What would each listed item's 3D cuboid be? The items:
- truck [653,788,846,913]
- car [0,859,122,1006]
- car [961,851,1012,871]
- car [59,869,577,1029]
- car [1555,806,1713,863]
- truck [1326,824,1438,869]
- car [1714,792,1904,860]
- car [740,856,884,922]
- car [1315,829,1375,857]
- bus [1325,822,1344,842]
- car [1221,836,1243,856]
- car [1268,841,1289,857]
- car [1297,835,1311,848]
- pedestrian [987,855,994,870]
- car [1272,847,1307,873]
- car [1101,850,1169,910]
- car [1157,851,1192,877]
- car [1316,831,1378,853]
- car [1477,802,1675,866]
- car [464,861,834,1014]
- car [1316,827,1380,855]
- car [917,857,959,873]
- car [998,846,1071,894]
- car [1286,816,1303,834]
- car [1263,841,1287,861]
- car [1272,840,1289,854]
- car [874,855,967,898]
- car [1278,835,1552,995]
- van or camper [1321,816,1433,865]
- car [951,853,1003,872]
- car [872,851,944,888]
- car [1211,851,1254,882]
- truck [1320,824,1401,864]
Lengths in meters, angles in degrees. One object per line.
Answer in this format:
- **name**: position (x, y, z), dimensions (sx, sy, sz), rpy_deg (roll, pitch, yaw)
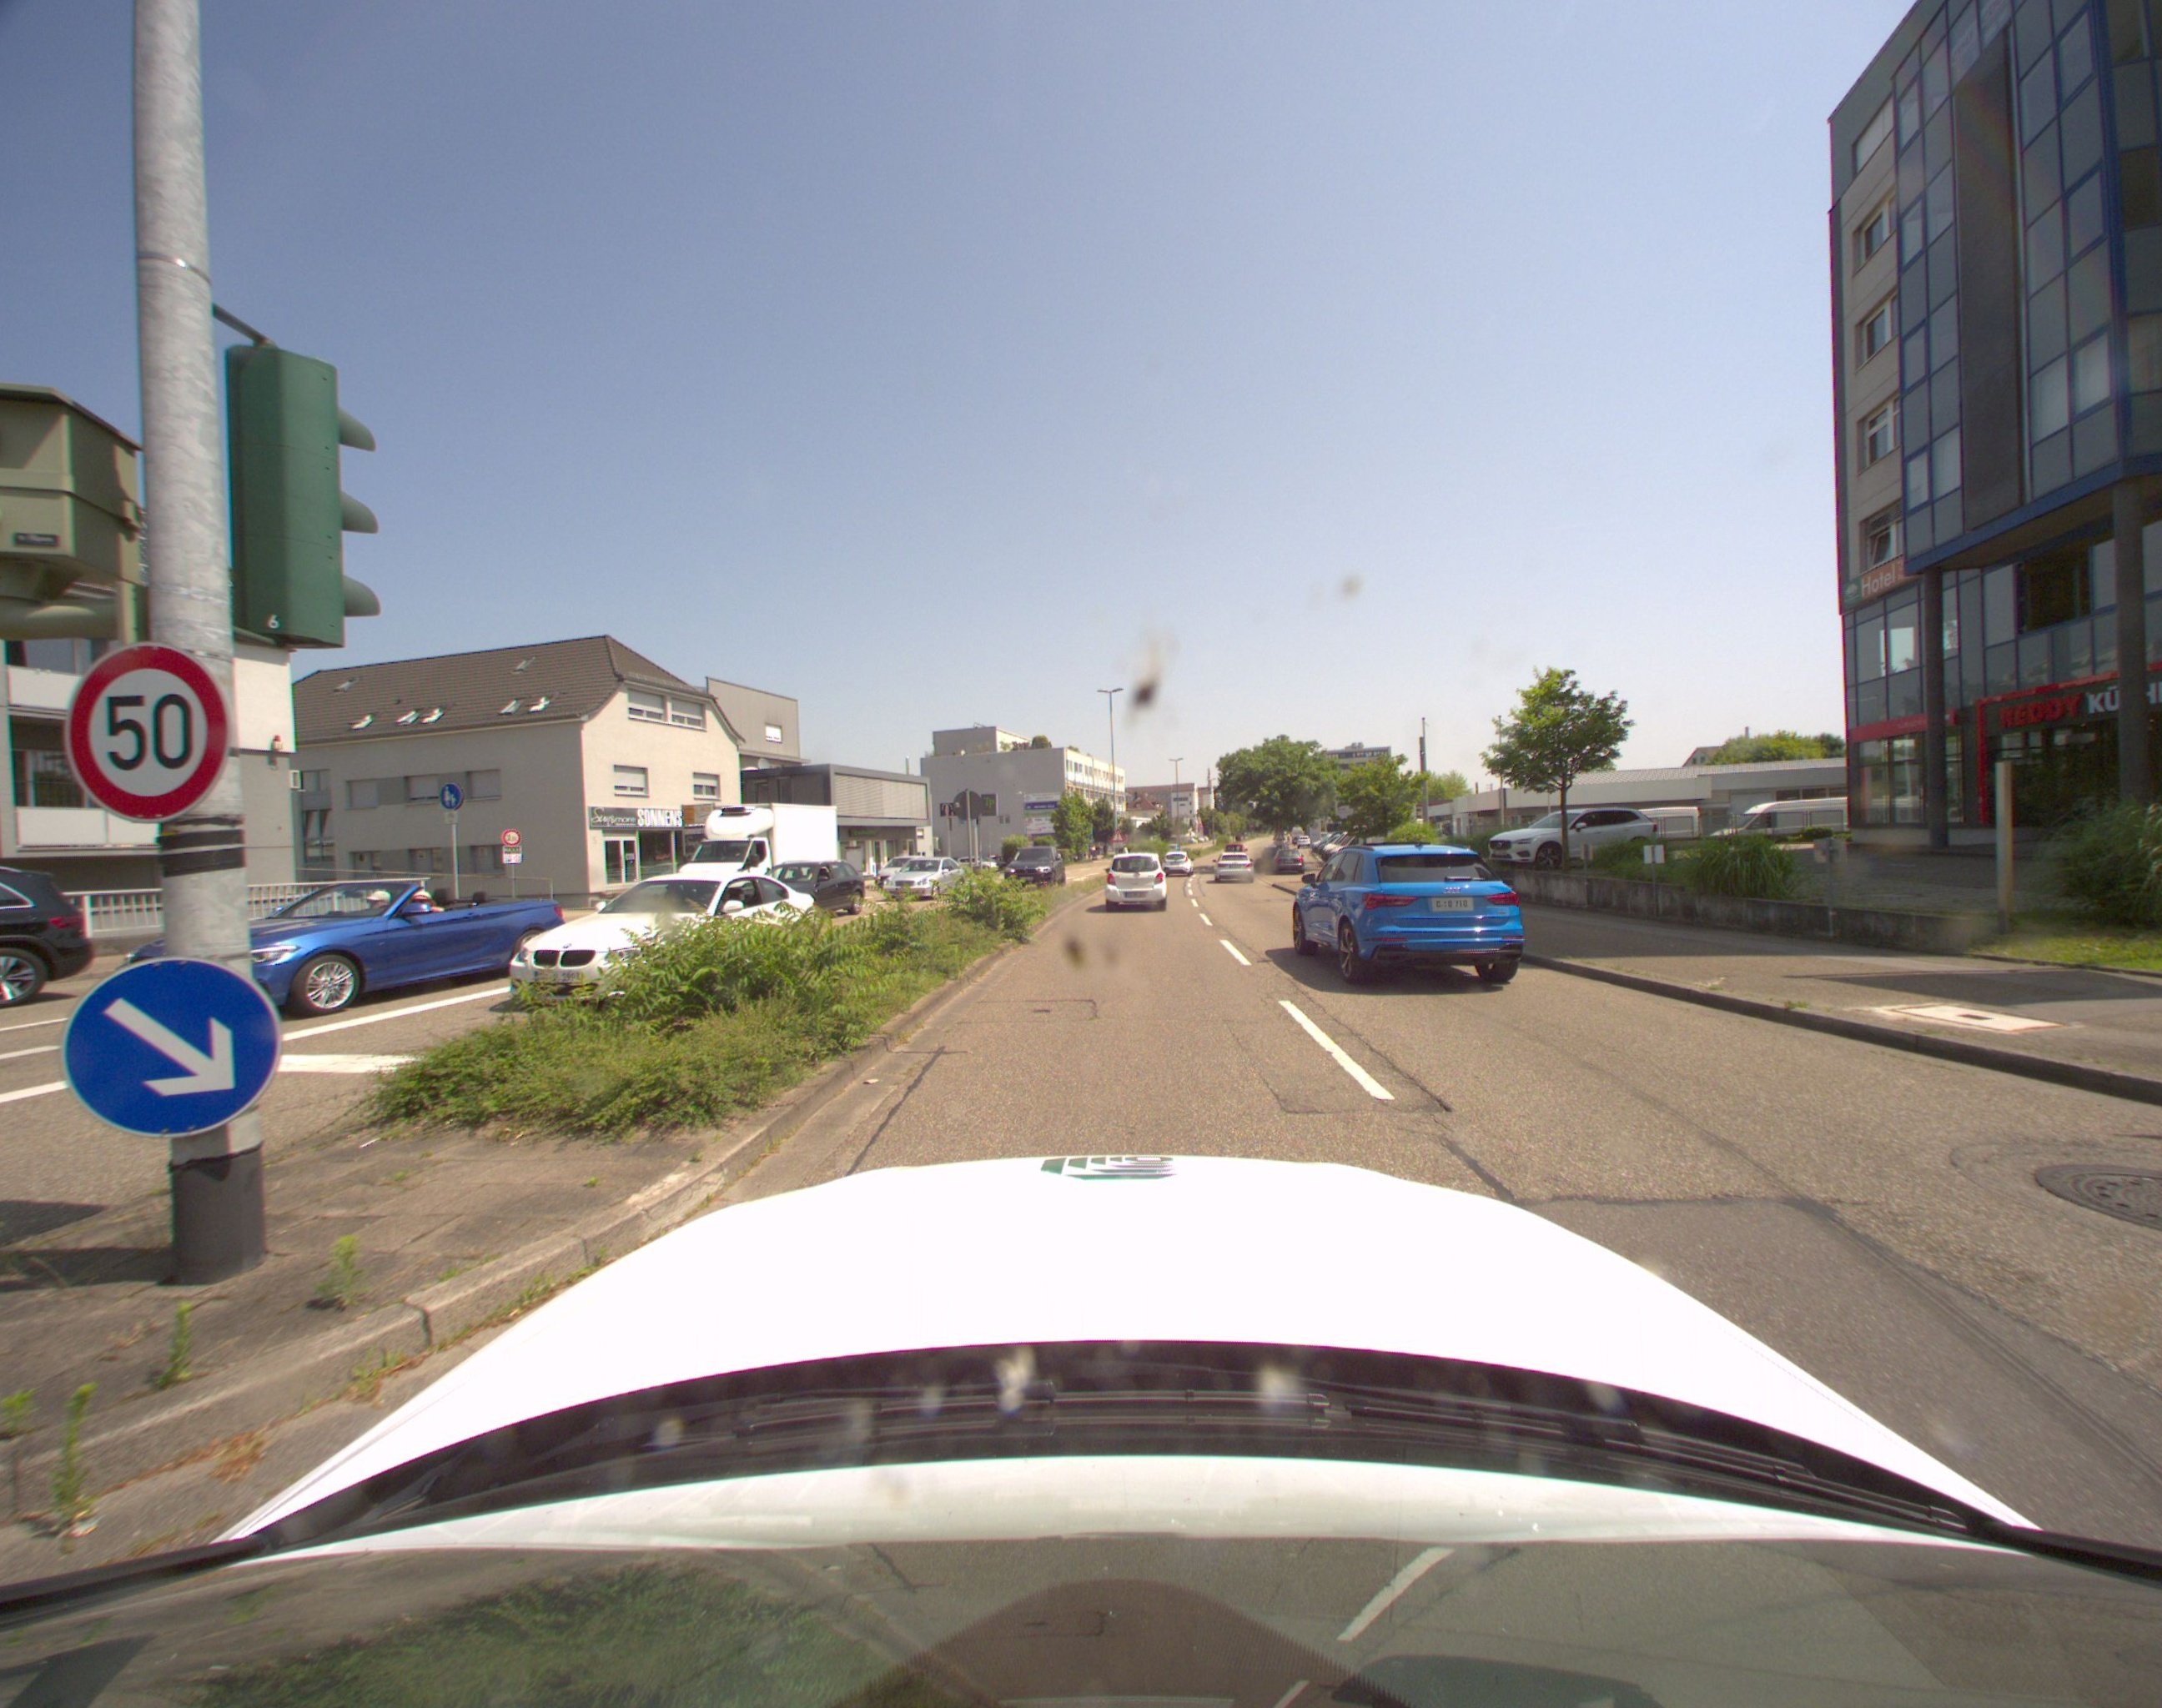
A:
- **truck**: position (-10.182, -0.072, 25.956), dimensions (2.251, 3.417, 7.057), rpy_deg (-1, -1, 10)
- **car**: position (-13.693, 0.936, 8.310), dimensions (1.977, 1.656, 4.615), rpy_deg (-1, 0, 18)
- **car**: position (-8.154, 0.592, 70.514), dimensions (3.966, 1.371, 1.676), rpy_deg (-4, 1, 16)
- **car**: position (-8.448, 0.931, 9.728), dimensions (1.854, 1.366, 4.353), rpy_deg (-1, 0, 5)
- **car**: position (26.291, -0.873, 38.983), dimensions (5.840, 2.528, 2.129), rpy_deg (-1, -1, 17)
- **truck**: position (18.501, -0.467, 50.361), dimensions (6.198, 2.336, 2.379), rpy_deg (-3, 1, 15)
- **car**: position (32.540, -1.190, 36.642), dimensions (6.070, 2.810, 2.008), rpy_deg (-1, -1, 15)
- **car**: position (-6.674, 0.811, 20.777), dimensions (1.793, 1.439, 4.583), rpy_deg (-1, 0, 5)
- **car**: position (23.913, -0.995, 73.893), dimensions (4.865, 2.114, 2.137), rpy_deg (-4, 1, 13)
- **bus**: position (42.107, -3.719, 135.161), dimensions (2.782, 3.078, 12.345), rpy_deg (-2, 2, 18)
- **car**: position (13.392, -0.671, 72.468), dimensions (1.784, 1.729, 3.982), rpy_deg (-1, 0, 8)
- **car**: position (19.879, -0.548, 82.031), dimensions (1.842, 1.481, 5.173), rpy_deg (-2, 1, 11)
- **car**: position (30.298, -1.765, 110.697), dimensions (1.655, 1.595, 4.631), rpy_deg (-3, 1, 14)
- **pedestrian**: position (-9.840, 0.902, 88.740), dimensions (0.542, 1.657, 0.627), rpy_deg (-1, -1, 13)
- **car**: position (12.068, 0.311, 47.311), dimensions (1.785, 1.406, 4.335), rpy_deg (-1, 0, 13)
- **car**: position (1.447, 0.674, 22.505), dimensions (1.706, 1.511, 3.248), rpy_deg (-1, -1, 2)
- **car**: position (5.507, 0.576, 48.328), dimensions (1.822, 1.450, 4.003), rpy_deg (-1, 0, 3)
- **car**: position (26.570, -1.171, 81.404), dimensions (5.846, 2.013, 2.270), rpy_deg (-1, 1, 18)
- **car**: position (14.023, -0.547, 23.166), dimensions (4.727, 1.713, 1.992), rpy_deg (-1, -1, -11)
- **car**: position (-4.999, 0.853, 10.406), dimensions (1.854, 1.431, 4.751), rpy_deg (-1, 0, 5)
- **car**: position (25.783, -1.233, 78.727), dimensions (5.798, 2.523, 2.214), rpy_deg (-1, 0, 17)
- **car**: position (-15.295, 1.203, 87.187), dimensions (3.948, 1.467, 1.969), rpy_deg (-3, 1, 9)
- **car**: position (-1.774, 0.615, 32.864), dimensions (1.897, 1.751, 4.772), rpy_deg (-1, -1, 9)
- **car**: position (37.168, -5.035, 141.693), dimensions (2.119, 2.839, 7.334), rpy_deg (-8, -1, 12)
- **car**: position (18.172, -0.318, 76.203), dimensions (1.947, 1.530, 5.181), rpy_deg (-5, 0, 14)
- **car**: position (22.792, -0.822, 93.045), dimensions (1.702, 1.548, 4.807), rpy_deg (-3, 0, 12)
- **car**: position (-5.525, 0.737, 28.589), dimensions (1.887, 1.361, 4.207), rpy_deg (-2, 0, 8)
- **car**: position (3.950, 0.625, 10.550), dimensions (1.905, 1.597, 4.398), rpy_deg (-1, 0, 3)
- **van or camper**: position (19.755, -0.881, 54.749), dimensions (6.748, 2.897, 2.284), rpy_deg (-3, 1, 13)
- **car**: position (-8.671, 0.701, 67.798), dimensions (3.963, 1.459, 1.579), rpy_deg (-2, -1, 9)
- **car**: position (-7.903, 0.670, 37.592), dimensions (1.887, 1.566, 4.207), rpy_deg (-2, 0, 8)
- **car**: position (7.151, 0.565, 38.703), dimensions (1.659, 1.399, 3.799), rpy_deg (-2, 0, 6)
- **truck**: position (19.719, -0.701, 57.695), dimensions (5.207, 2.435, 2.120), rpy_deg (-4, 0, 15)
